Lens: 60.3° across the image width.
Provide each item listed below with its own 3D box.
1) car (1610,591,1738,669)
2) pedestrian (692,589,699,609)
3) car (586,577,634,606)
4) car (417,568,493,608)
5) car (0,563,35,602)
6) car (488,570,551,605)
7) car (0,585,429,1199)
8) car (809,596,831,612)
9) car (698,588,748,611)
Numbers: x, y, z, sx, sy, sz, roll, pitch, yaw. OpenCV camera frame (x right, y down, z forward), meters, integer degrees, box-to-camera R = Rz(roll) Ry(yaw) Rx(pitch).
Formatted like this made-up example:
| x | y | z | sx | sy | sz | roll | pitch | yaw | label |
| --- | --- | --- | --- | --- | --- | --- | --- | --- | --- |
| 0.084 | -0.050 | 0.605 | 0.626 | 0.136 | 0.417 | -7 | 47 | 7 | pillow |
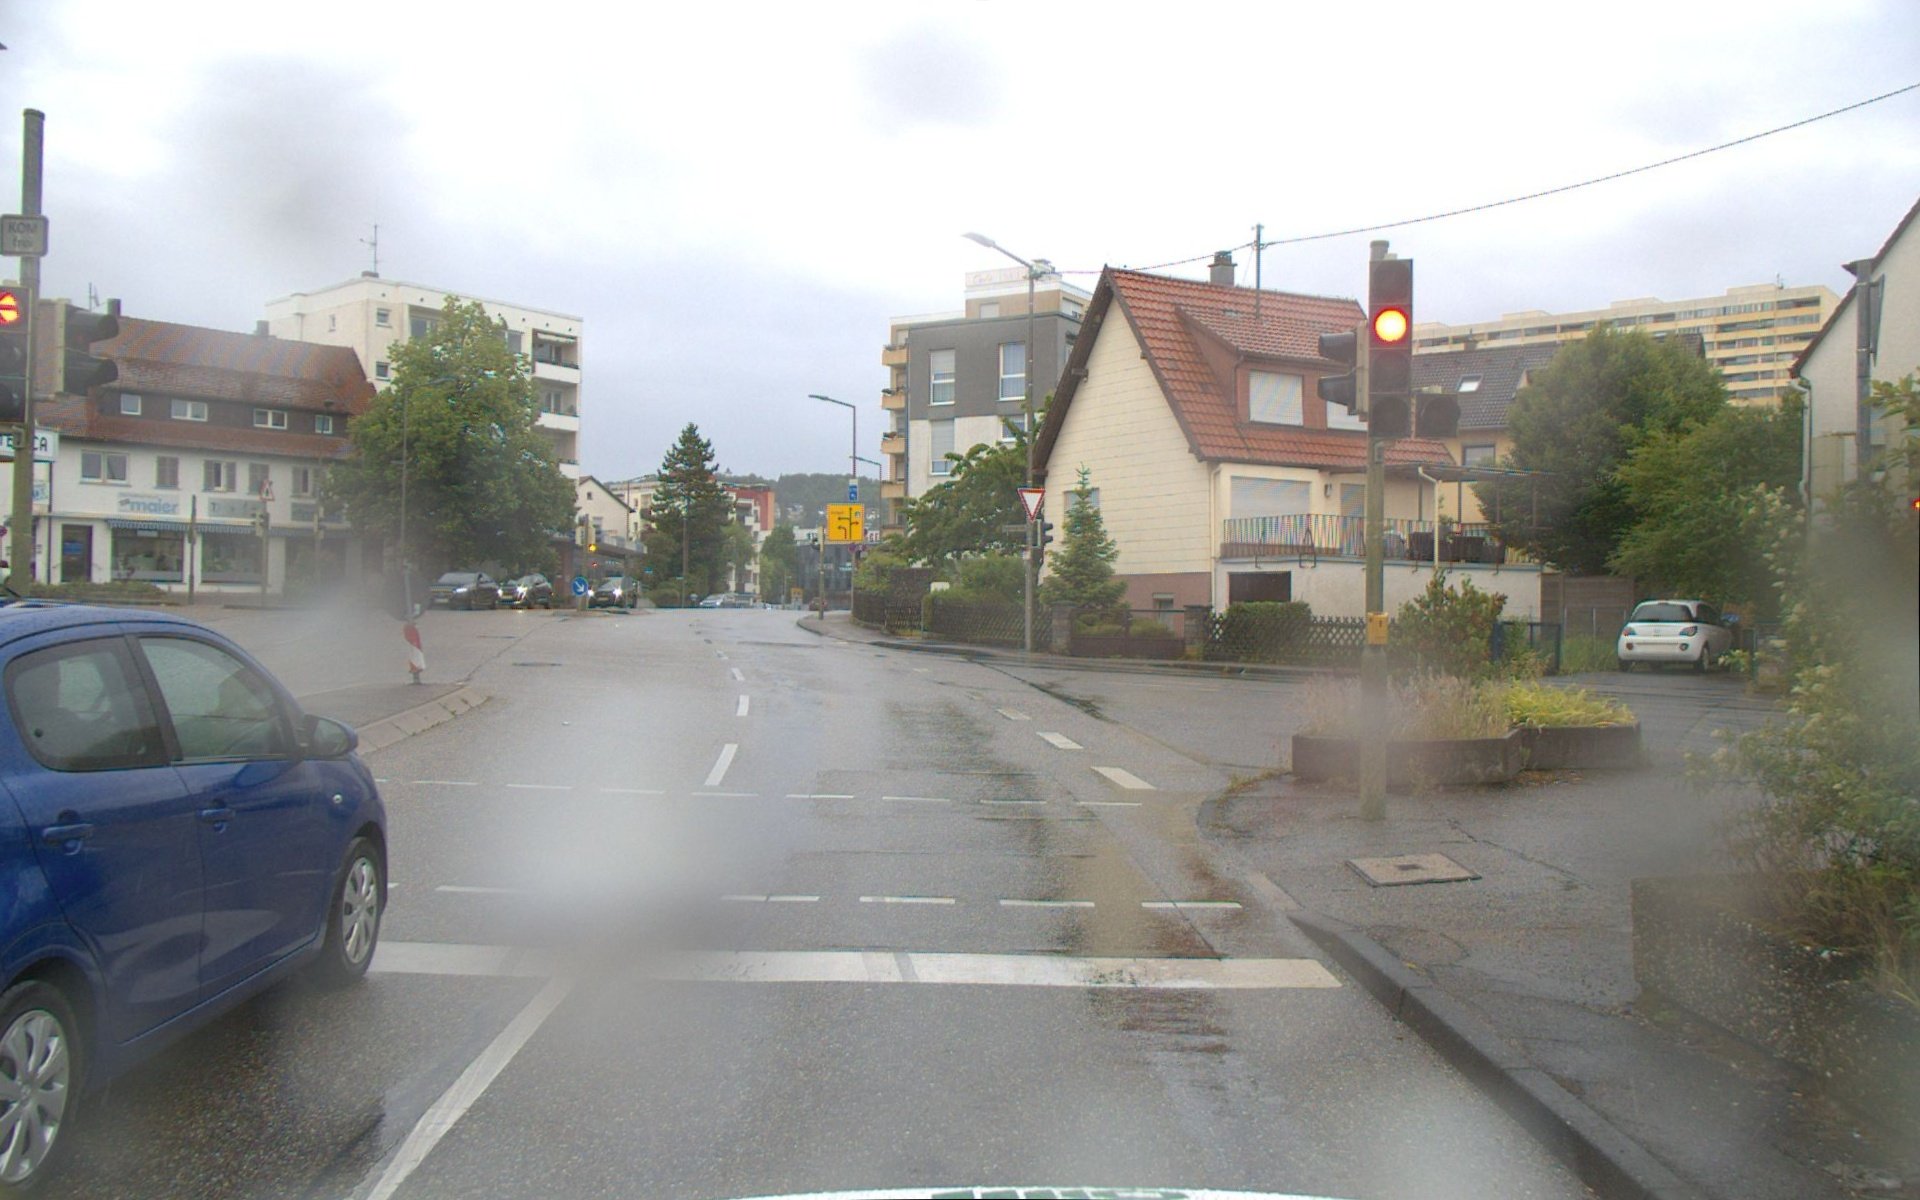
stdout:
| x | y | z | sx | sy | sz | roll | pitch | yaw | label |
| --- | --- | --- | --- | --- | --- | --- | --- | --- | --- |
| 15.180 | 0.591 | 35.051 | 1.710 | 1.541 | 3.986 | 1 | 1 | 35 | car |
| -23.000 | -0.086 | 143.761 | 0.486 | 1.687 | 0.434 | 1 | 0 | 6 | pedestrian |
| -17.944 | -0.459 | 84.957 | 1.743 | 1.445 | 3.830 | 1 | 1 | -2 | car |
| -19.018 | -0.477 | 62.412 | 1.743 | 1.445 | 3.830 | 1 | 1 | -2 | car |
| -41.407 | -0.755 | 69.645 | 1.842 | 1.599 | 3.938 | 2 | 1 | 45 | car |
| -18.526 | -0.518 | 69.696 | 1.680 | 1.411 | 4.019 | 1 | 1 | -2 | car |
| -2.906 | 0.691 | 5.032 | 1.547 | 1.435 | 3.269 | 1 | 1 | -1 | car |
| -13.492 | 0.358 | 159.911 | 1.776 | 1.512 | 4.188 | 0 | 1 | -1 | car |
| -19.748 | -0.021 | 137.723 | 3.828 | 1.847 | 1.734 | 0 | 1 | -42 | car |
